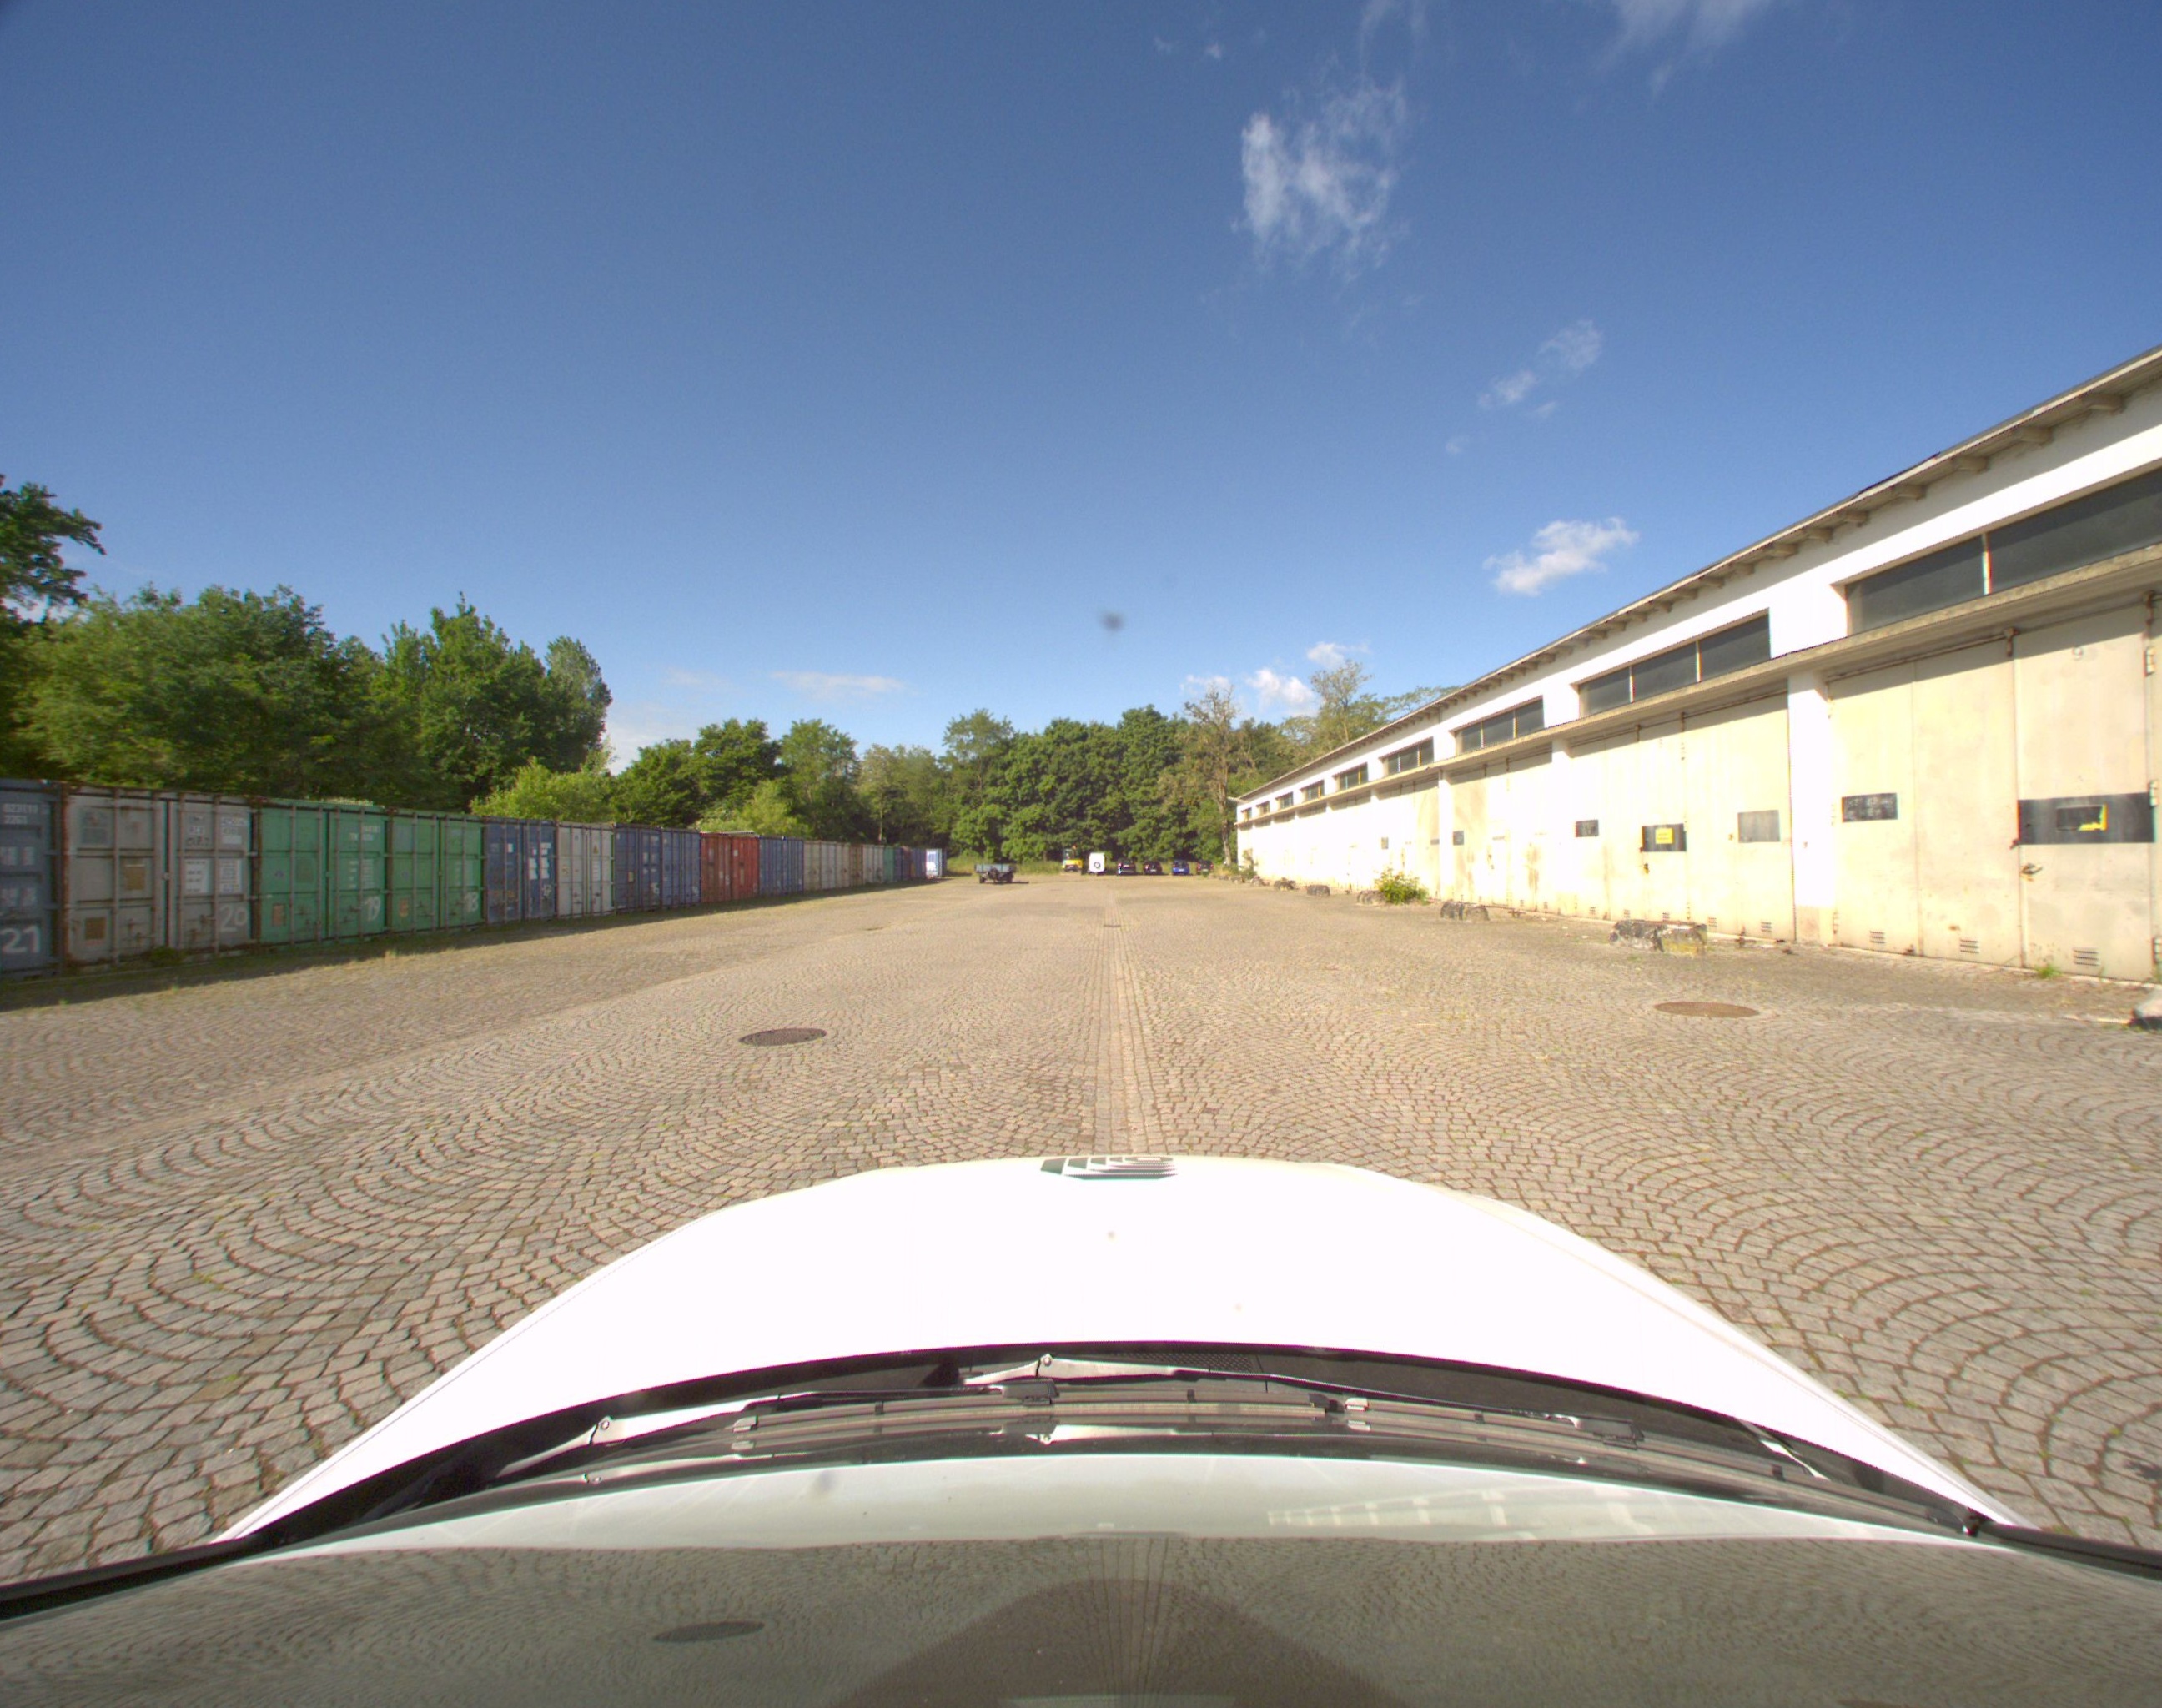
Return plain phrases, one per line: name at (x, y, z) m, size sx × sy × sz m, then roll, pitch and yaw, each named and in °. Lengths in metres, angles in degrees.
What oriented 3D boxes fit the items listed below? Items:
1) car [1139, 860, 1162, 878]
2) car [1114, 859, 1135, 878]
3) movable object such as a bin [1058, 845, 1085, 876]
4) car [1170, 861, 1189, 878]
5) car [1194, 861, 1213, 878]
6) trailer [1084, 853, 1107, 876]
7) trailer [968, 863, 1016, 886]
car at (6.555, 1.394, 77.050) m, size 1.857 × 1.470 × 4.297 m, roll 1°, pitch 0°, yaw 1°
car at (4.062, 1.343, 76.730) m, size 1.857 × 1.589 × 4.297 m, roll 1°, pitch 0°, yaw 1°
movable object such as a bin at (-0.914, 0.625, 79.808) m, size 2.297 × 2.896 × 5.755 m, roll 1°, pitch 0°, yaw 2°
car at (9.310, 1.448, 76.938) m, size 1.735 × 1.436 × 4.191 m, roll 1°, pitch 0°, yaw 7°
car at (11.797, 1.460, 78.301) m, size 1.734 × 1.436 × 4.193 m, roll 1°, pitch 0°, yaw 9°
trailer at (1.441, 0.980, 79.164) m, size 2.185 × 2.094 × 5.753 m, roll 1°, pitch 0°, yaw 1°
trailer at (-6.369, 1.427, 59.203) m, size 2.696 × 1.466 × 6.247 m, roll 1°, pitch 0°, yaw 0°
